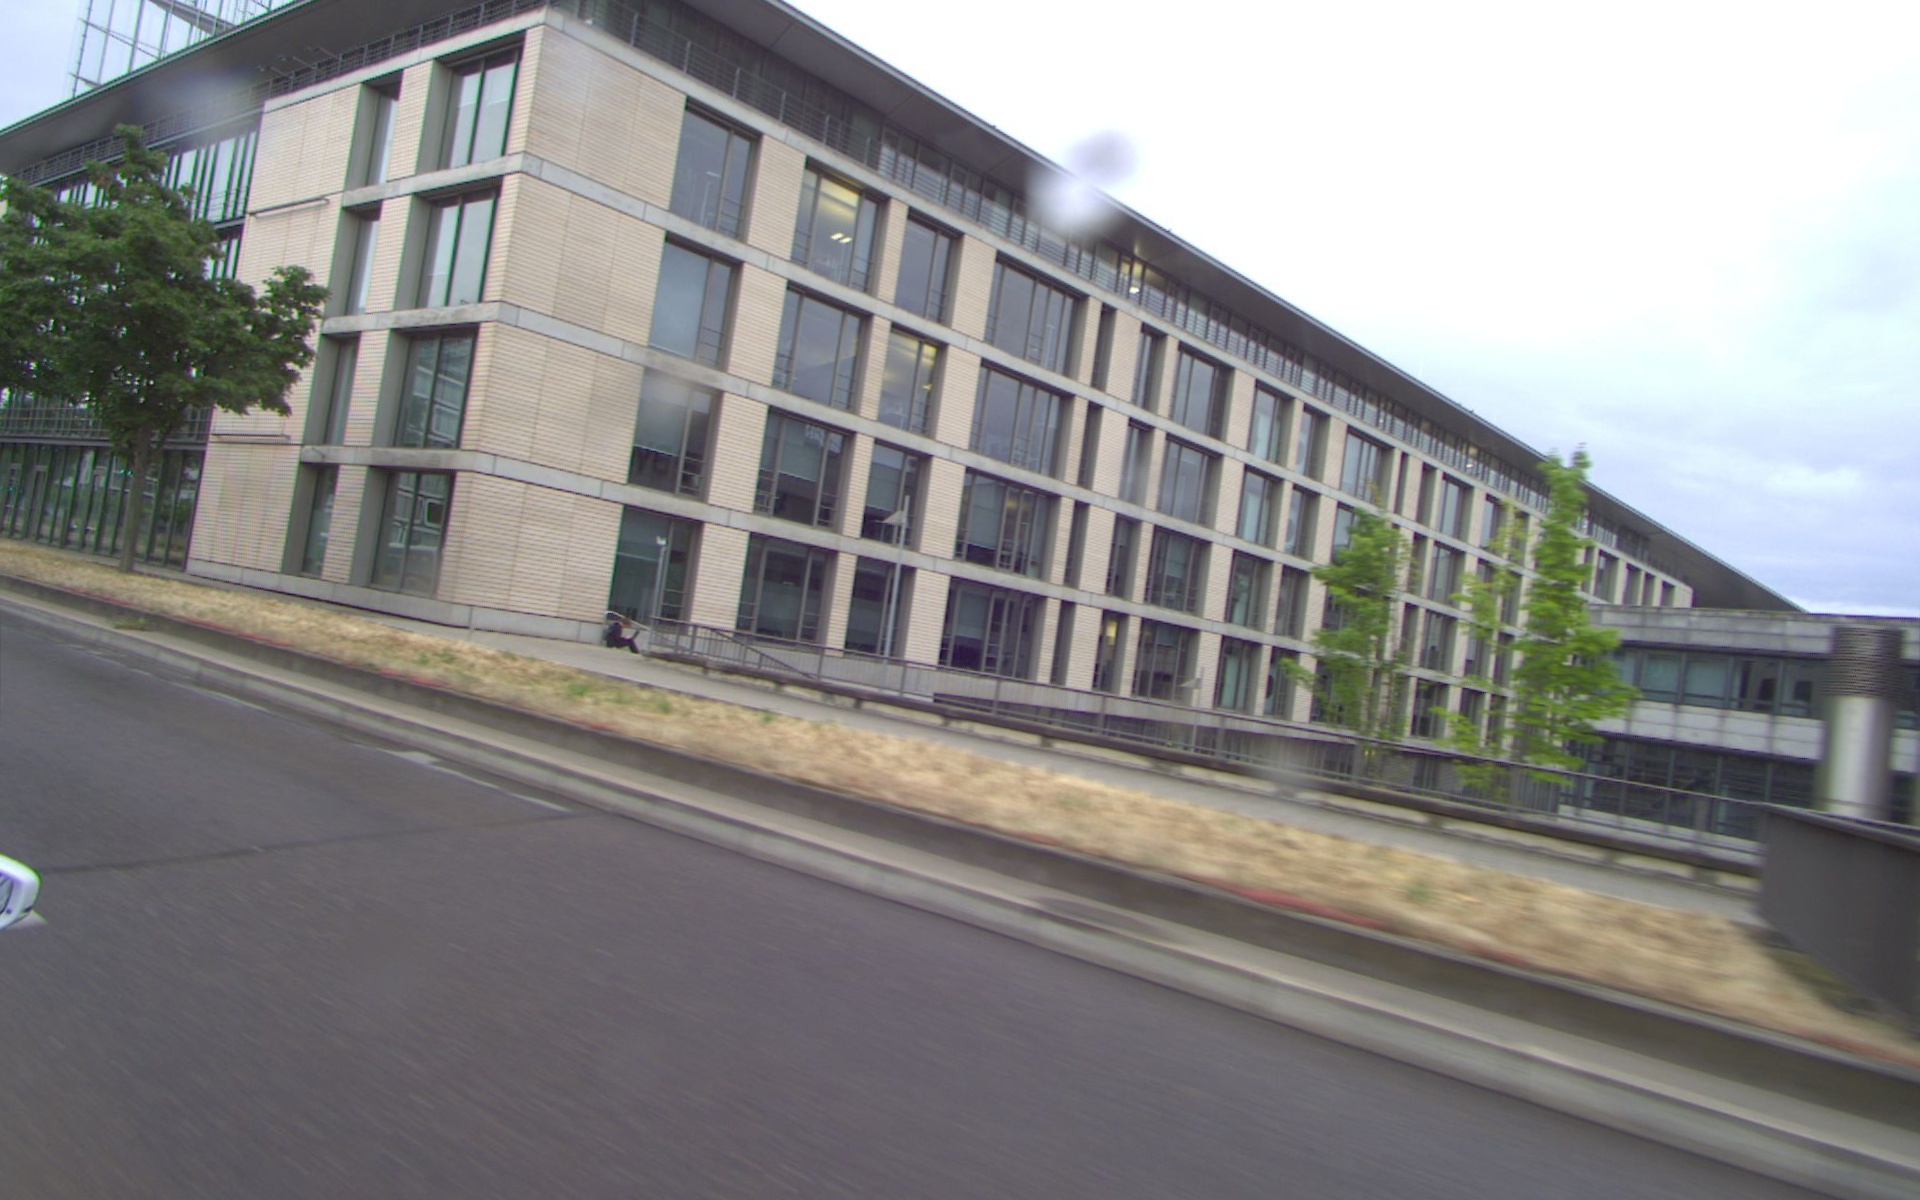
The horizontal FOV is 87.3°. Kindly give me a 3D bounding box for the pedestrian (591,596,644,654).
[{"bbox_3d":[-8.944,0.657,26.264,0.872,1.355,0.958,9,-2,-41],"label":"pedestrian"}]
